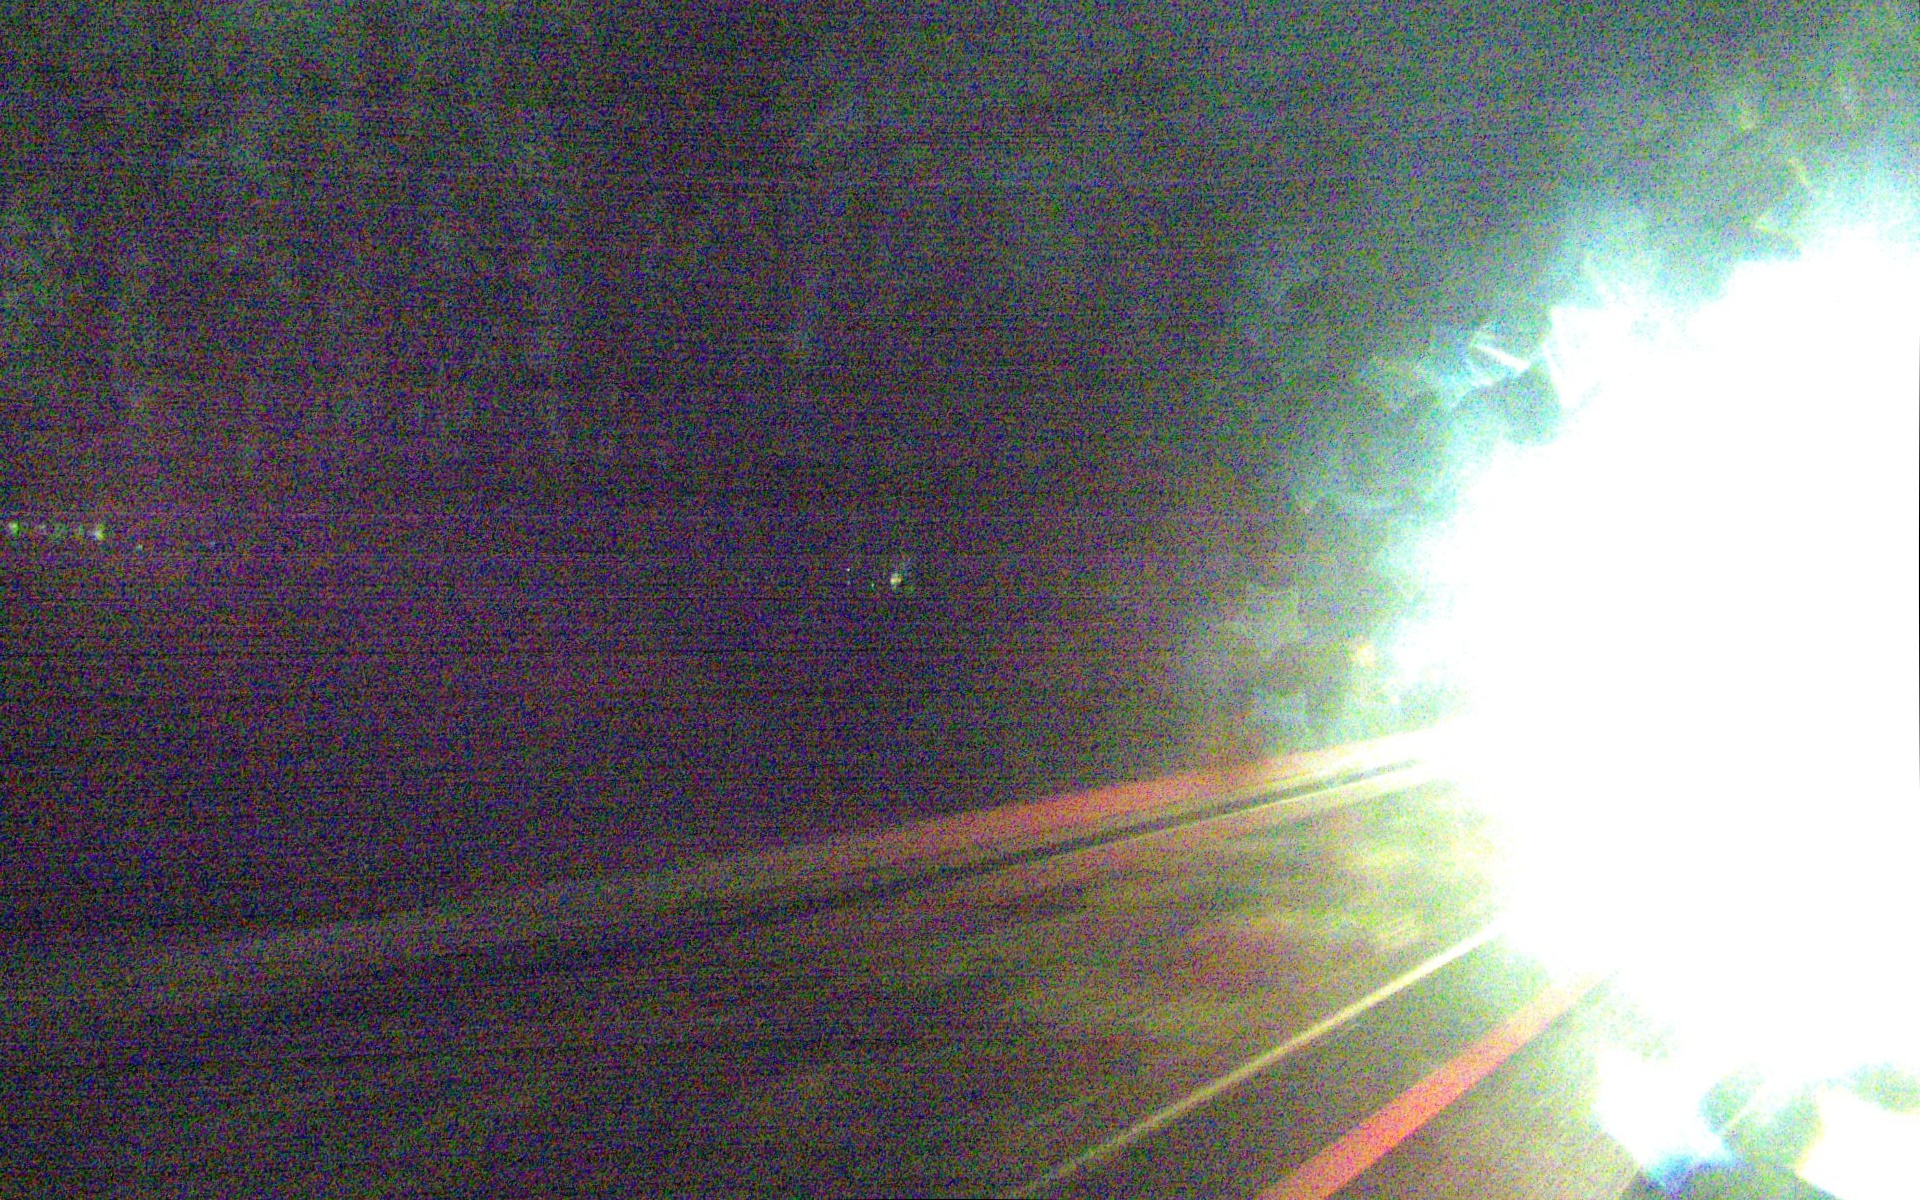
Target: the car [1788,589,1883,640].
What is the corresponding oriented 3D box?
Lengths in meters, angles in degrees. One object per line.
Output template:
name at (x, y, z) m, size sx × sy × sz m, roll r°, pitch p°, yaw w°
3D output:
car at (27.374, 0.410, 31.752) m, size 1.838 × 1.467 × 3.827 m, roll 0°, pitch 1°, yaw 35°
